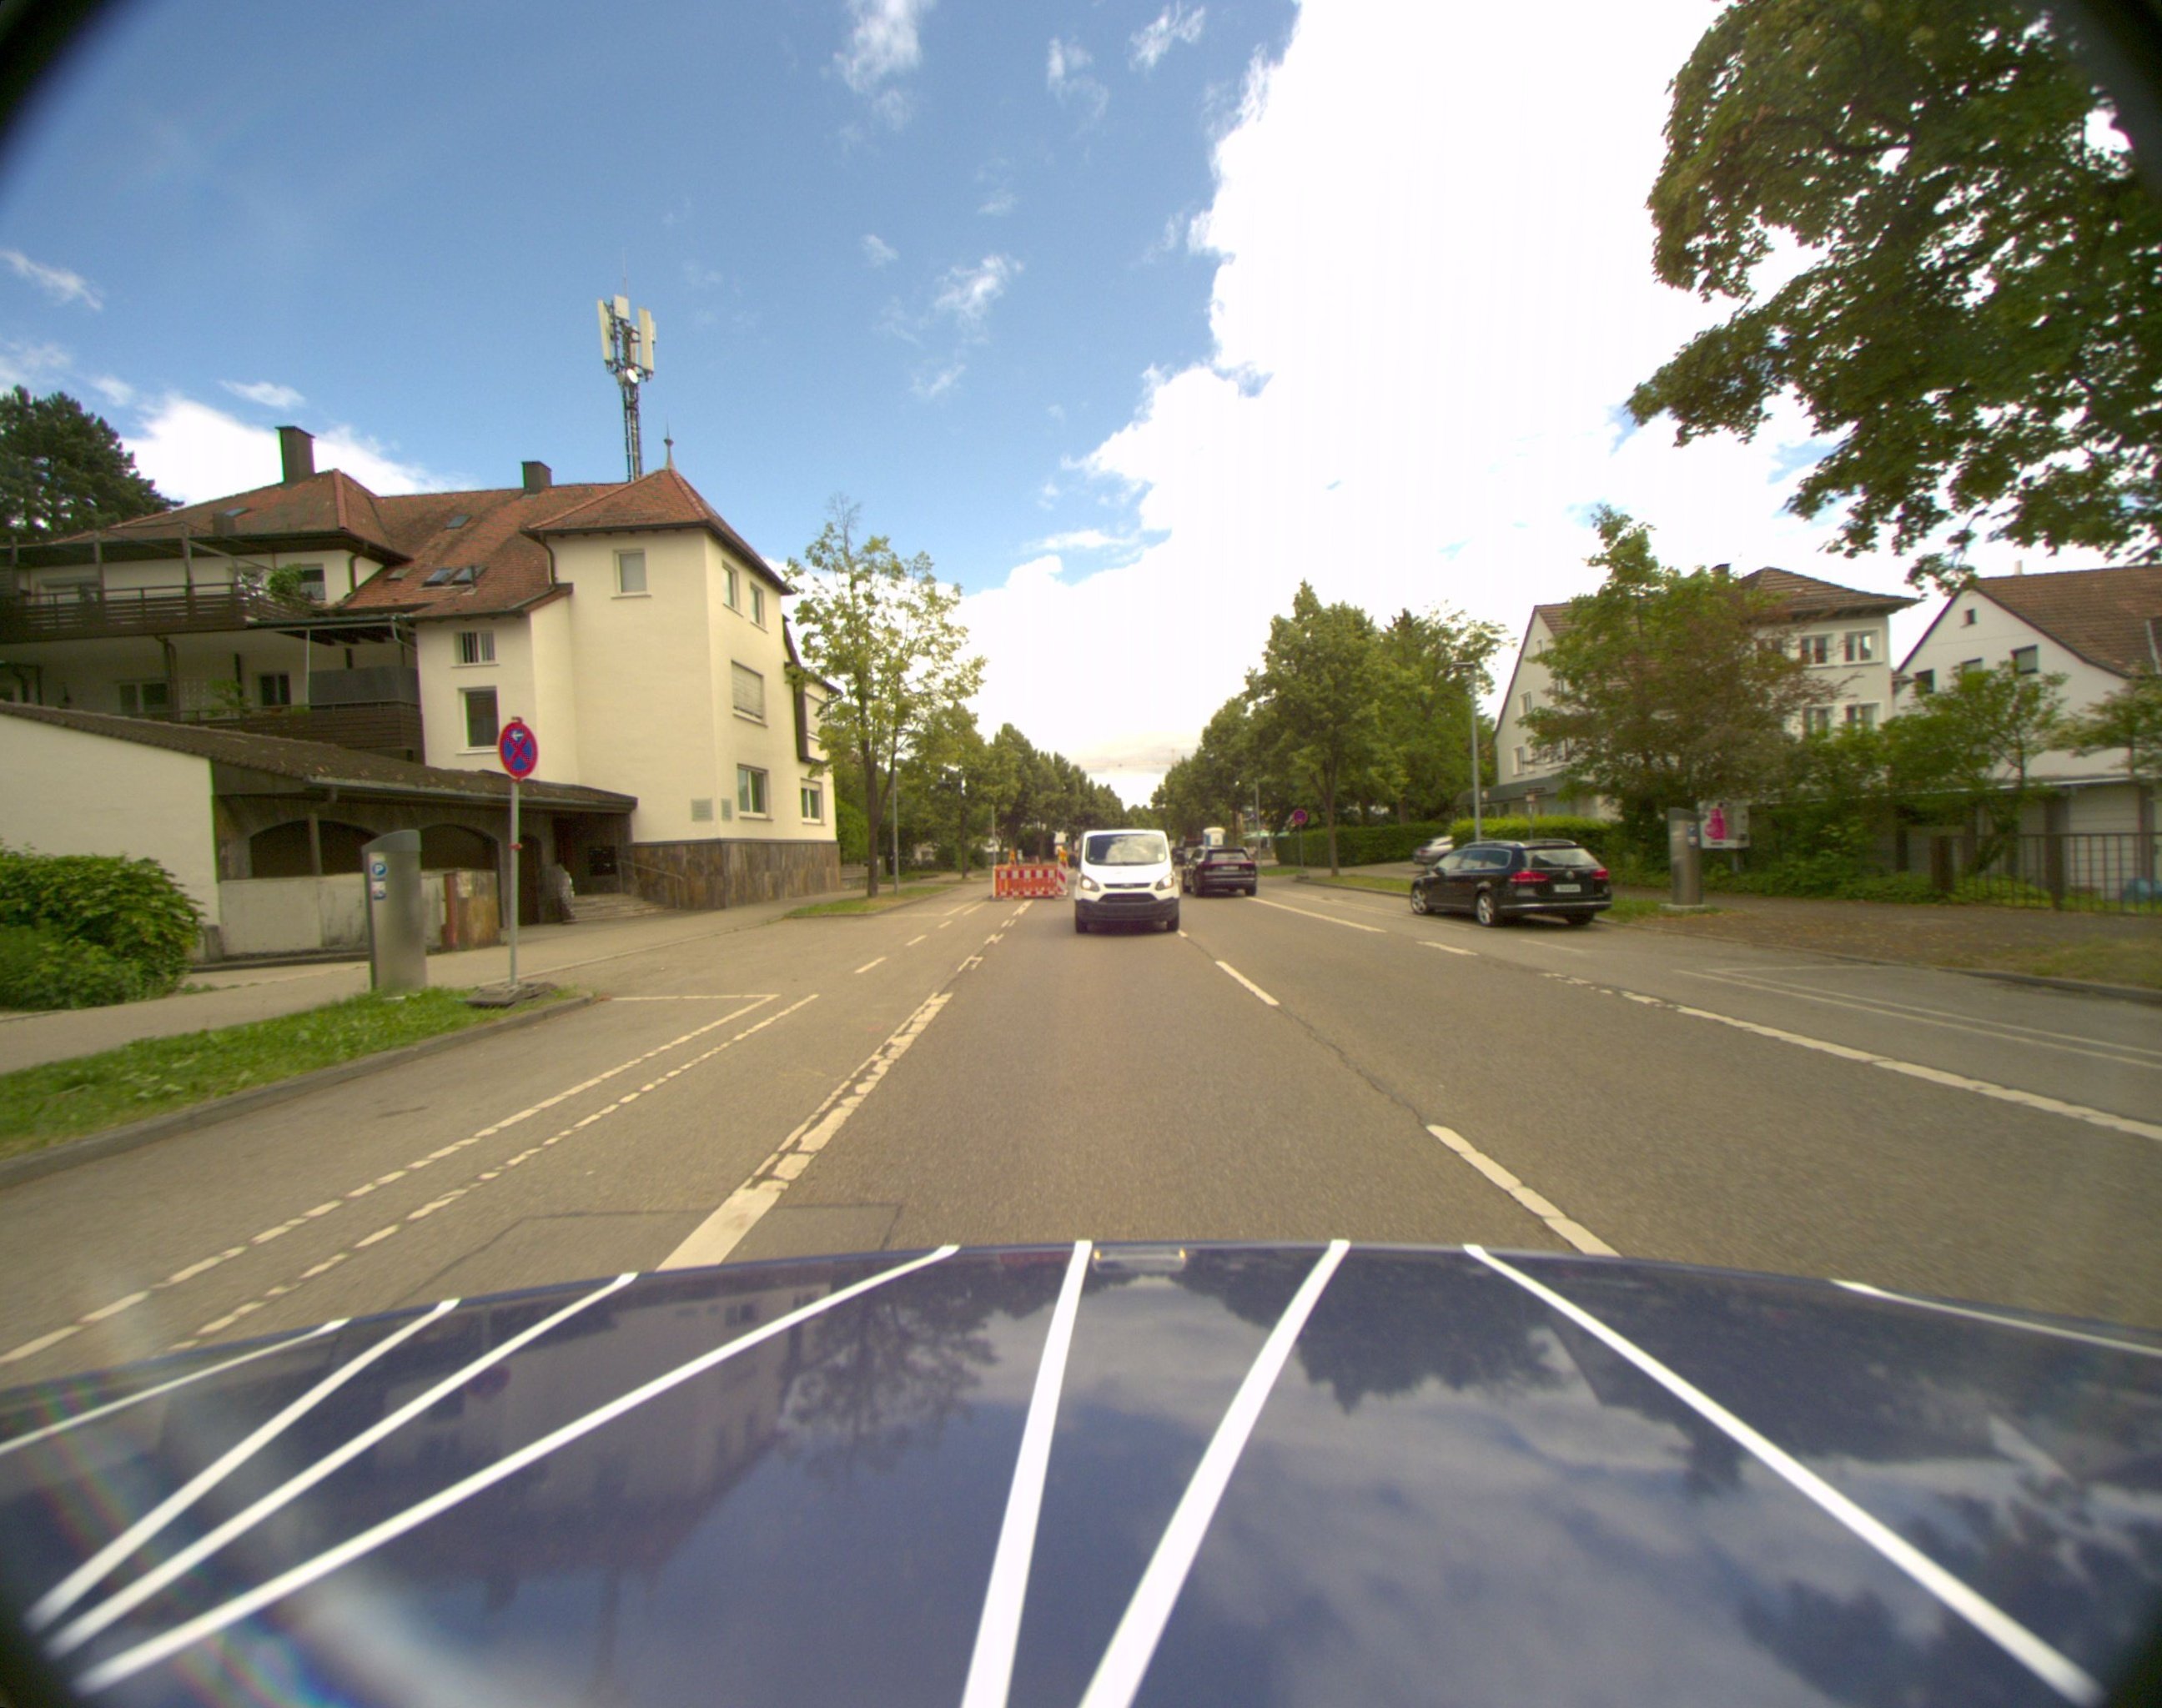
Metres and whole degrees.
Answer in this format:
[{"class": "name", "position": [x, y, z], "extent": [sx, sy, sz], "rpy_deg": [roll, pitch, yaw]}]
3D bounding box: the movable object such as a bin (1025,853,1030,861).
[{"class": "movable object such as a bin", "position": [-7.163, 0.363, 101.783], "extent": [0.540, 1.052, 0.519], "rpy_deg": [-2, 1, 19]}]

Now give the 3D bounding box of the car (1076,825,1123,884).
[{"class": "car", "position": [0.917, 0.009, 36.573], "extent": [1.998, 2.584, 4.000], "rpy_deg": [-3, 0, 2]}]

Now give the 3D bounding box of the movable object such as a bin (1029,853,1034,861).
[{"class": "movable object such as a bin", "position": [-6.658, 0.339, 101.601], "extent": [0.499, 1.038, 0.520], "rpy_deg": [-2, 1, 18]}]

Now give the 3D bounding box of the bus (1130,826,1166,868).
[{"class": "bus", "position": [5.834, -0.701, 68.887], "extent": [2.811, 3.269, 18.046], "rpy_deg": [-1, 1, 4]}]

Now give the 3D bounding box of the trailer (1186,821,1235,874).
[{"class": "trailer", "position": [7.983, -0.415, 47.409], "extent": [2.377, 2.946, 7.012], "rpy_deg": [-2, 1, 5]}]

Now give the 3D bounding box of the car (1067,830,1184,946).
[{"class": "car", "position": [0.879, 0.580, 16.113], "extent": [1.998, 2.002, 5.318], "rpy_deg": [-2, 1, 2]}]

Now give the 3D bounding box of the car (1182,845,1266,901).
[{"class": "car", "position": [4.634, 0.558, 25.312], "extent": [1.998, 1.658, 4.589], "rpy_deg": [-1, 1, 1]}]

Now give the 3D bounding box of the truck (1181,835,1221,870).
[{"class": "truck", "position": [8.475, -0.126, 54.126], "extent": [2.300, 2.274, 6.464], "rpy_deg": [-2, 1, 5]}]

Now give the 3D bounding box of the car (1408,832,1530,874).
[{"class": "car", "position": [15.989, -0.035, 31.476], "extent": [4.087, 1.424, 1.802], "rpy_deg": [-3, 0, 8]}]

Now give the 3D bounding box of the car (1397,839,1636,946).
[{"class": "car", "position": [7.894, 0.569, 14.398], "extent": [1.865, 1.544, 4.618], "rpy_deg": [-2, 2, 0]}]

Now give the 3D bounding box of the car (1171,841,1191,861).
[{"class": "car", "position": [10.027, -0.309, 76.457], "extent": [1.711, 1.863, 4.399], "rpy_deg": [-2, 1, 5]}]
